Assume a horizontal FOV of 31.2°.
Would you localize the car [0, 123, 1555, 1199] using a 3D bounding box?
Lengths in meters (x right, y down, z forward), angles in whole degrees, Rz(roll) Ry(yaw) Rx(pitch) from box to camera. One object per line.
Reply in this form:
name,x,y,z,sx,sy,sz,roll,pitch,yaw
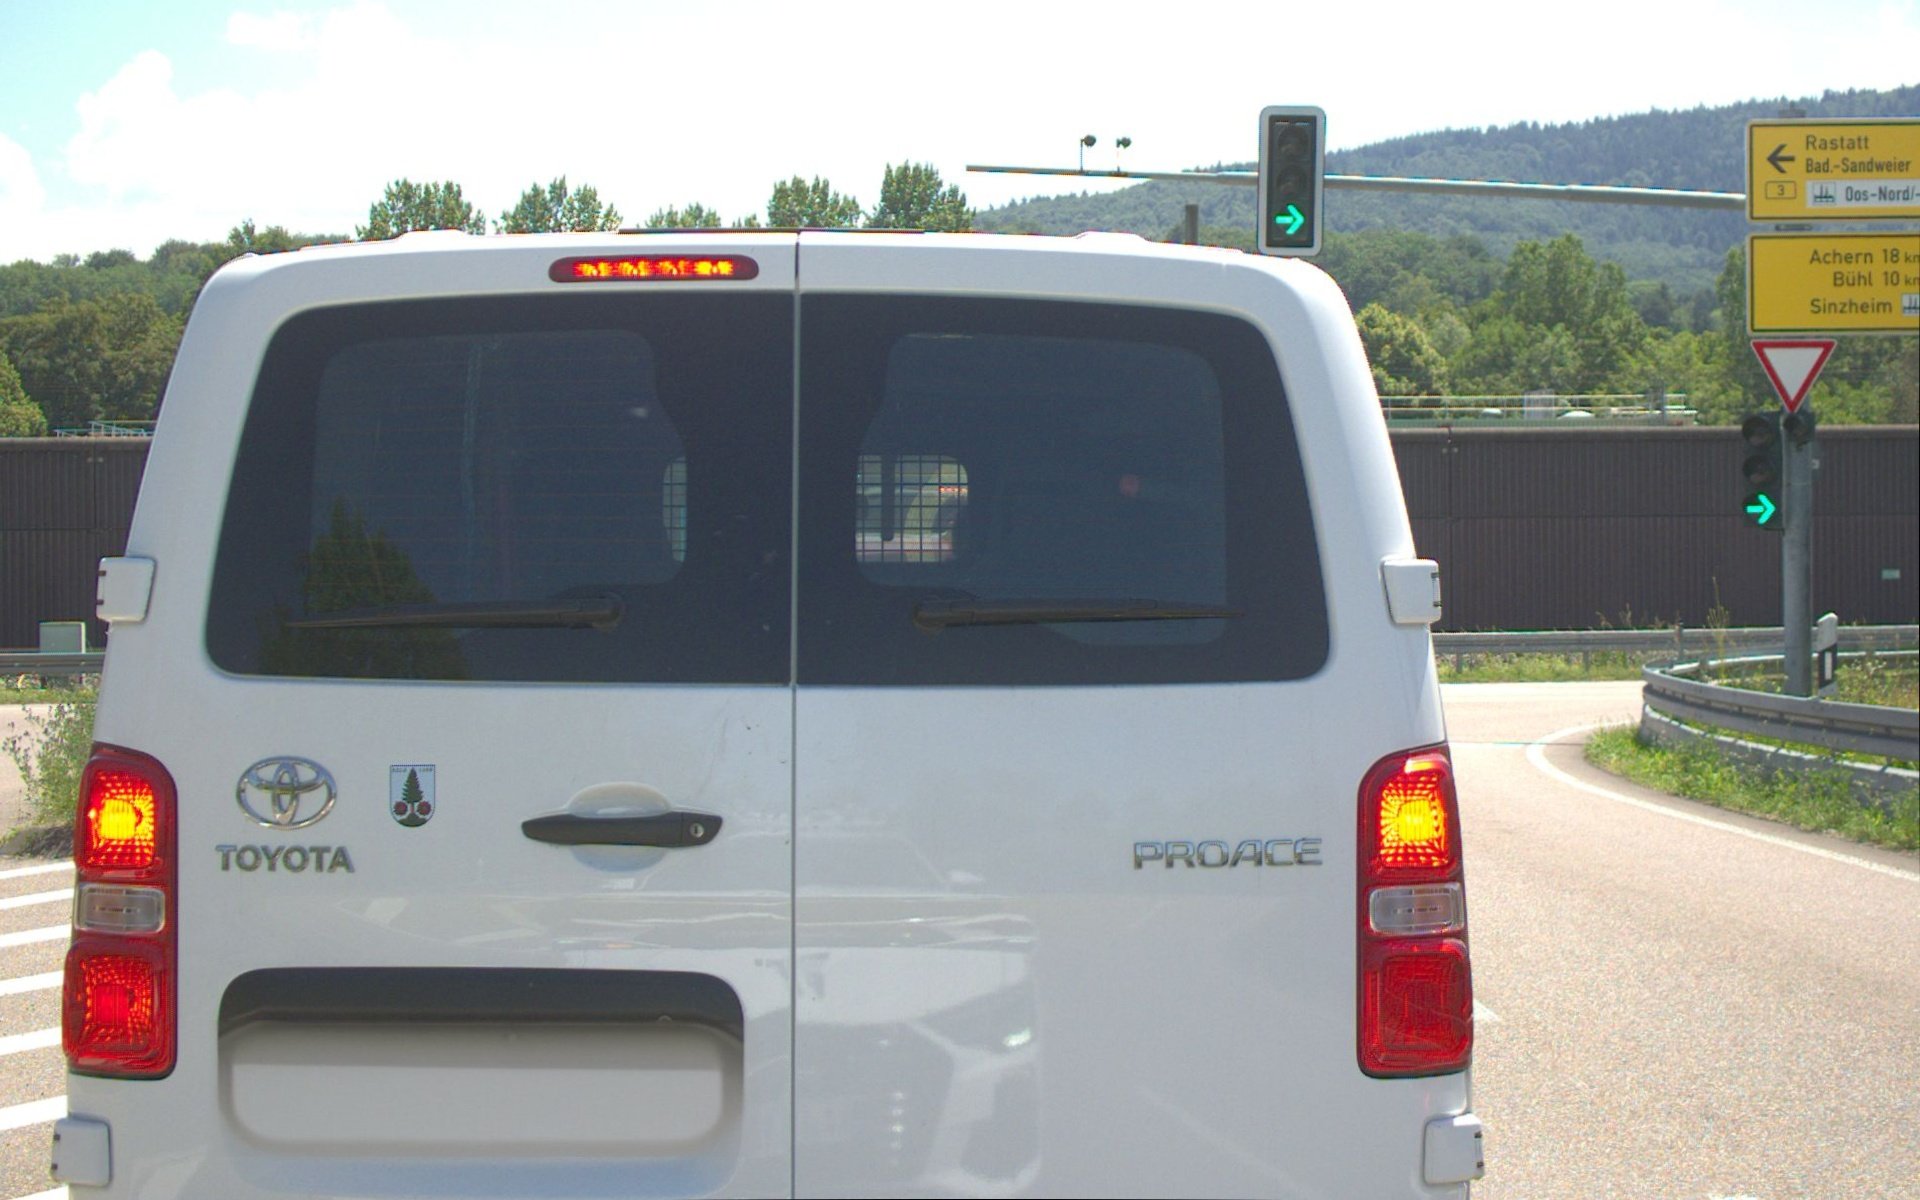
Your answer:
car,-0.252,0.442,5.942,1.814,2.011,4.000,0,1,-1
